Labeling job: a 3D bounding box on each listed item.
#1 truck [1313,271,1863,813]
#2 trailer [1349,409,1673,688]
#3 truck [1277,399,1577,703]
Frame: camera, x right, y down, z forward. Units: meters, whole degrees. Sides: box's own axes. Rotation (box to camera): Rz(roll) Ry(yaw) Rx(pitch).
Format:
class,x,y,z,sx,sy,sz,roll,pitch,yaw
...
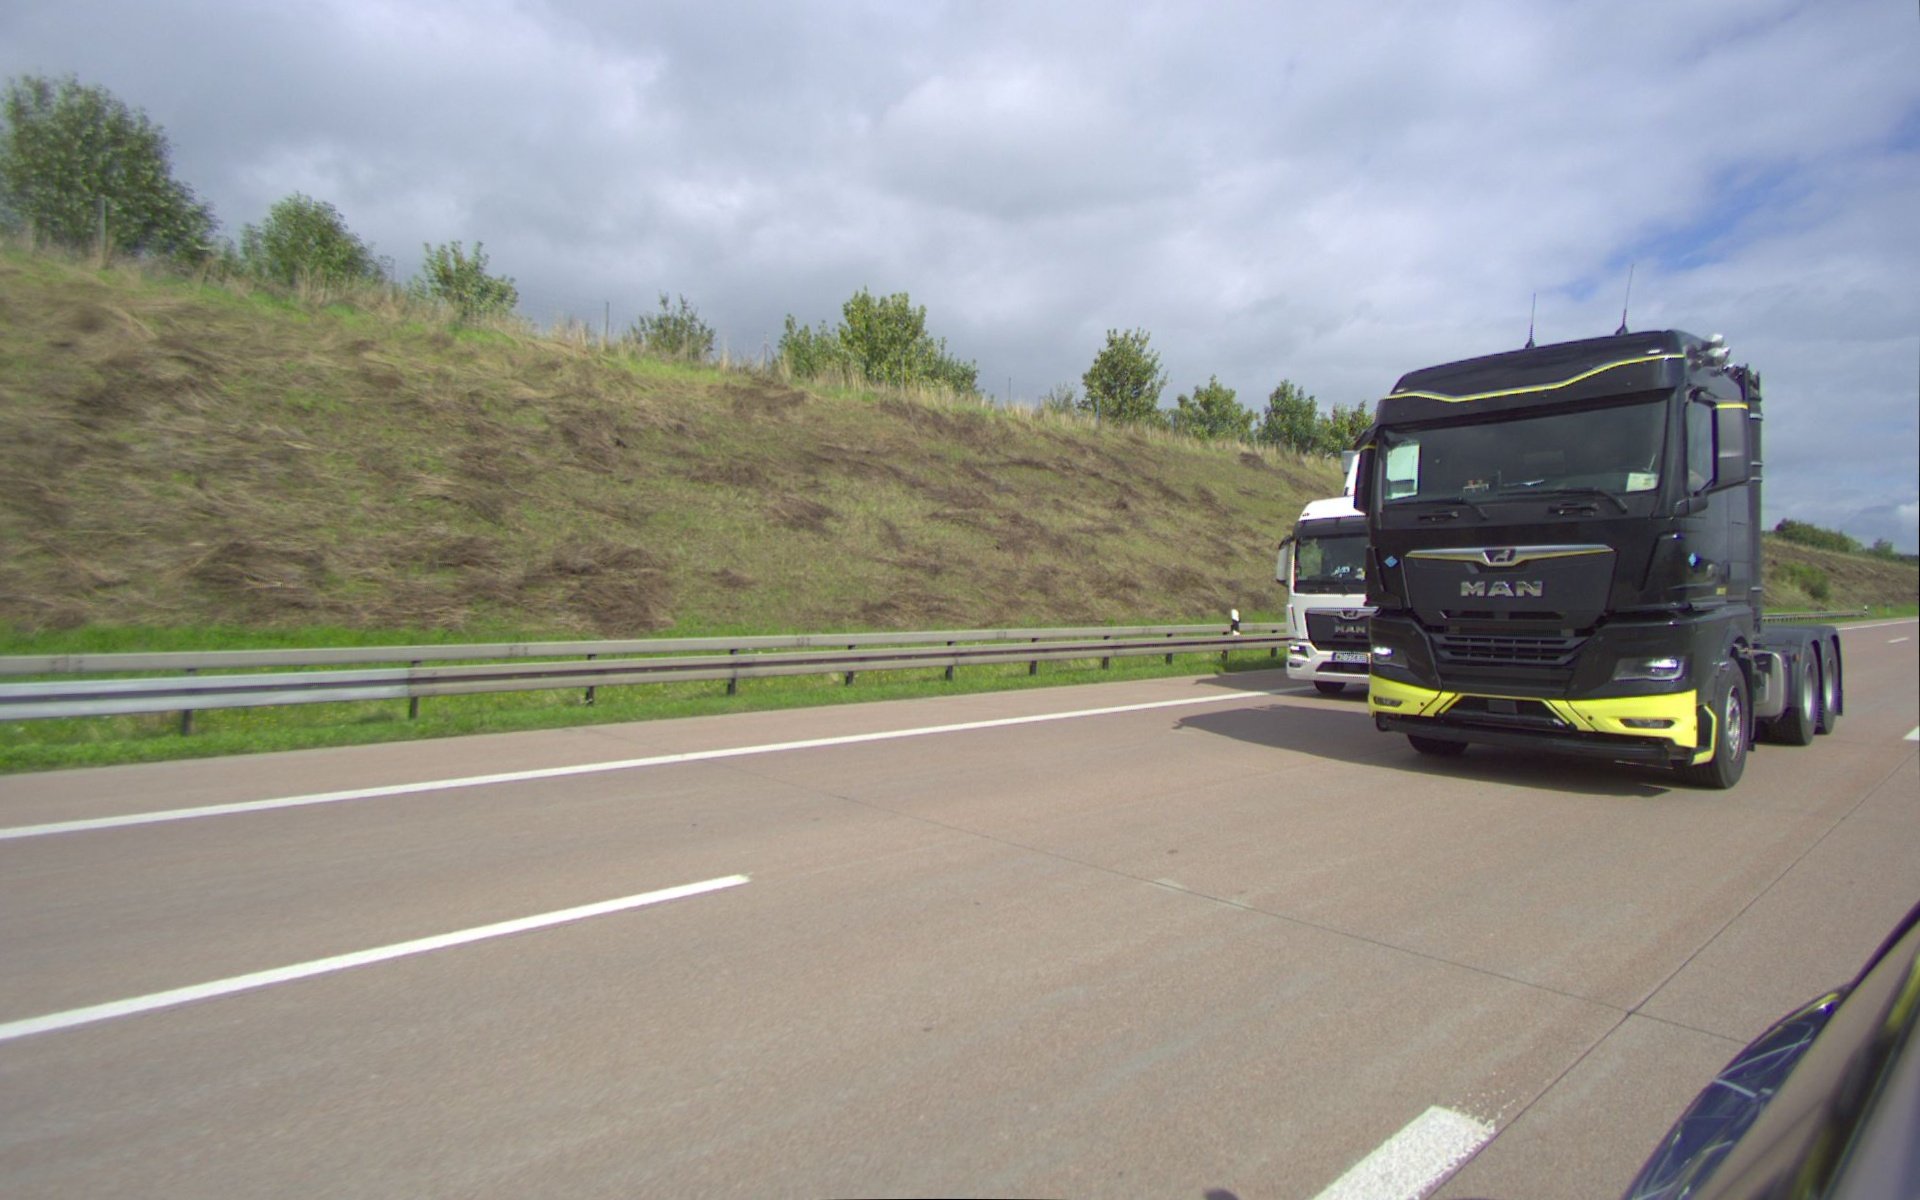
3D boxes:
class,x,y,z,sx,sy,sz,roll,pitch,yaw
truck,7.032,-0.423,10.565,8.179,3.594,2.850,-1,0,-43
trailer,10.462,-0.790,18.651,8.525,4.063,2.750,-1,0,-43
truck,7.301,-0.650,15.667,4.469,3.941,2.751,0,0,-43
